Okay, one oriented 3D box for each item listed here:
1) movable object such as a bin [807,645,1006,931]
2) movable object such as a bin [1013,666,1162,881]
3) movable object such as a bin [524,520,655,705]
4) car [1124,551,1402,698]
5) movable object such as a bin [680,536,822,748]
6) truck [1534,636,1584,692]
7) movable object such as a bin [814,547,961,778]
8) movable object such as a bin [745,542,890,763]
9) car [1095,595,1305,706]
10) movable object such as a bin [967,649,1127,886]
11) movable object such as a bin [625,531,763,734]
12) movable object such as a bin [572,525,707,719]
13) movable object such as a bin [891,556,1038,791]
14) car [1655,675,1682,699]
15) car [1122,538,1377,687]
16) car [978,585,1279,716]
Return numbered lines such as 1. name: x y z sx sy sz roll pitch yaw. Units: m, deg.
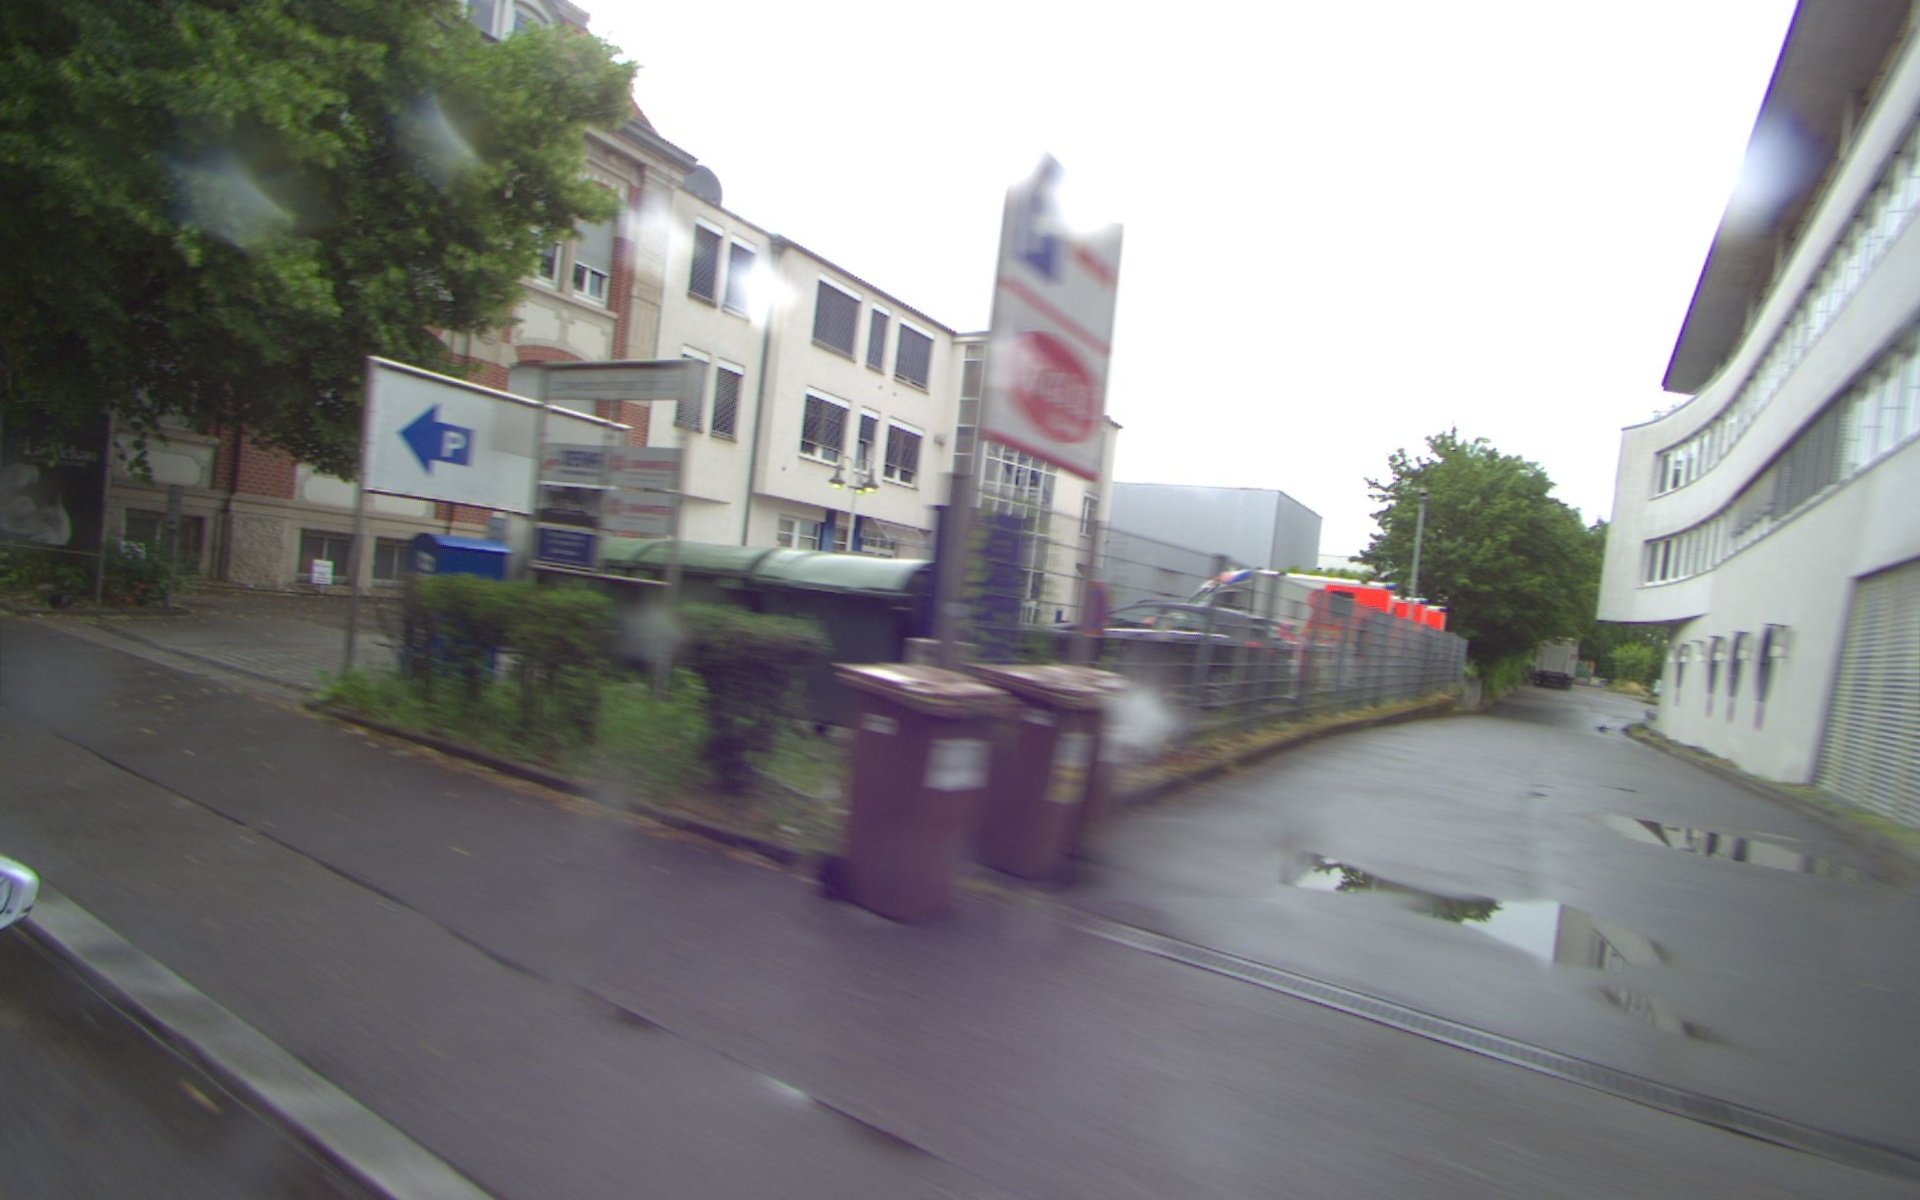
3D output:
1. movable object such as a bin: -0.241 0.807 4.565 0.608 1.130 0.505 7 2 32
2. movable object such as a bin: 0.760 0.995 5.991 0.608 1.130 0.505 7 2 32
3. movable object such as a bin: -3.267 0.112 8.907 0.614 1.521 0.738 7 2 28
4. car: 7.473 0.629 25.299 6.084 2.732 2.140 8 -1 0
5. movable object such as a bin: -1.632 0.318 7.894 0.614 1.528 0.738 7 2 28
6. truck: 44.848 4.846 75.435 2.688 3.566 6.143 7 -2 29
7. movable object such as a bin: -0.515 0.434 7.286 0.614 1.528 0.738 7 2 28
8. movable object such as a bin: -1.066 0.381 7.589 0.614 1.528 0.737 8 2 28
9. car: 4.384 0.884 18.413 3.453 1.505 1.521 7 1 17
10. movable object such as a bin: 0.470 0.866 5.411 0.552 1.130 0.531 7 2 34
11. movable object such as a bin: -2.163 0.259 8.217 0.614 1.528 0.738 7 2 28
12. movable object such as a bin: -2.718 0.184 8.554 0.614 1.528 0.738 7 2 28
13. movable object such as a bin: 0.042 0.502 7.159 0.614 1.528 0.738 7 2 28
14. car: 67.316 8.250 95.646 1.599 2.039 3.991 7 1 32
15. car: 7.838 0.375 27.683 6.084 3.161 2.140 8 -1 0
16. car: 2.485 0.705 15.196 4.066 1.505 1.665 5 0 32
